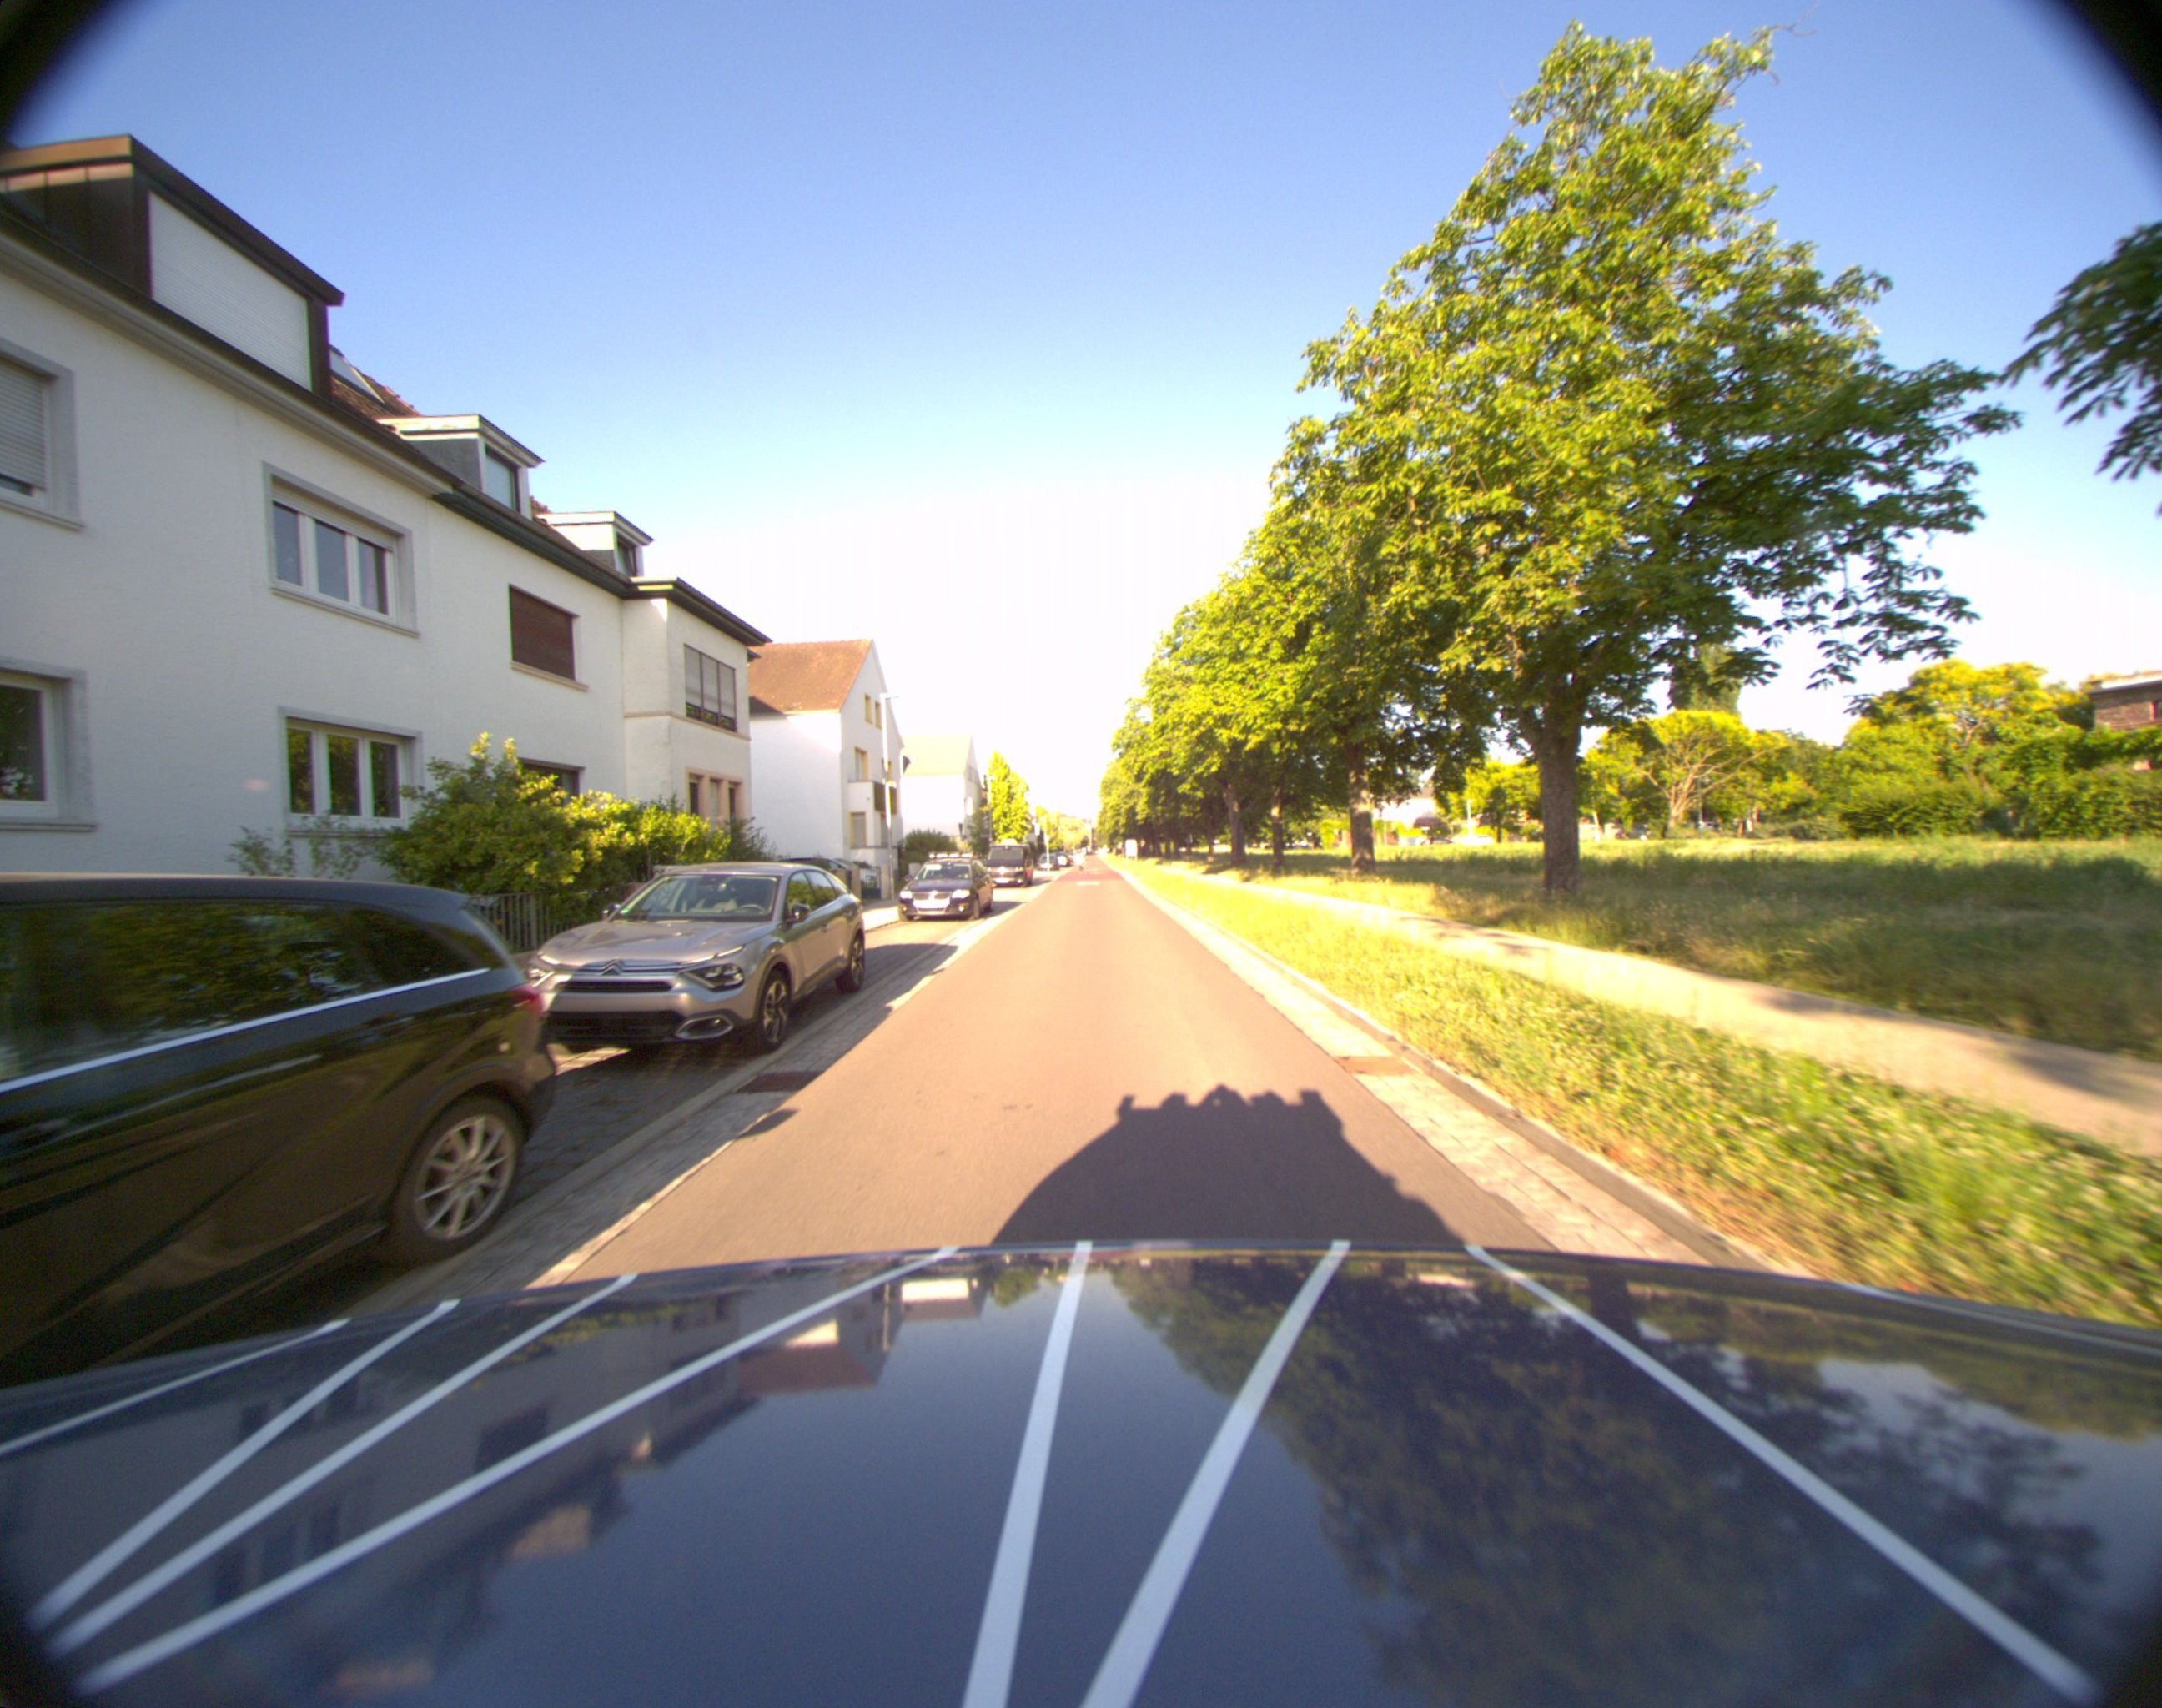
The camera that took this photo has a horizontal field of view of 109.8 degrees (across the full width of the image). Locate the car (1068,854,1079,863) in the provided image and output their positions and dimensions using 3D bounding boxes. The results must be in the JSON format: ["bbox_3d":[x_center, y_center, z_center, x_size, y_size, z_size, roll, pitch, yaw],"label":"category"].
[{"bbox_3d":[-1.252,0.700,133.340,1.745,1.471,4.056,-2,0,0],"label":"car"}]

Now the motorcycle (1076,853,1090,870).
[{"bbox_3d":[0.186,0.634,64.621,1.077,1.373,2.463,-3,1,0],"label":"motorcycle"}]

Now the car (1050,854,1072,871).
[{"bbox_3d":[-2.090,0.858,80.221,1.910,1.698,4.576,0,0,3],"label":"car"}]

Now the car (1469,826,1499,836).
[{"bbox_3d":[59.637,-3.451,112.446,3.636,1.273,1.586,-3,1,2],"label":"car"}]

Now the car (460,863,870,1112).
[{"bbox_3d":[-3.386,0.929,7.255,1.722,1.565,4.208,0,1,-2],"label":"car"}]

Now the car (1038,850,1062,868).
[{"bbox_3d":[-2.621,0.442,65.569,1.798,1.474,4.124,0,0,2],"label":"car"}]

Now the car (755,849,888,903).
[{"bbox_3d":[-9.549,0.782,28.242,4.228,1.716,1.852,-3,1,-2],"label":"car"}]

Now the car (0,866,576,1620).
[{"bbox_3d":[-3.463,0.960,1.584,1.837,1.675,4.414,1,1,1],"label":"car"}]

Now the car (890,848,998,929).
[{"bbox_3d":[-3.231,0.744,18.798,1.798,1.761,4.472,0,1,1],"label":"car"}]

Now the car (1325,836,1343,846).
[{"bbox_3d":[44.384,-2.220,133.263,1.766,1.619,4.000,-3,0,1],"label":"car"}]

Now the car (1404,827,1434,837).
[{"bbox_3d":[49.715,-3.210,111.808,3.636,1.273,1.586,-3,1,2],"label":"car"}]

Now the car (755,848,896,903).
[{"bbox_3d":[-8.763,0.707,26.350,4.228,1.716,1.852,-1,1,-2],"label":"car"}]

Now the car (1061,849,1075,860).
[{"bbox_3d":[-1.919,0.086,113.668,1.910,1.698,4.576,0,0,3],"label":"car"}]

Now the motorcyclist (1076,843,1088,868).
[{"bbox_3d":[0.089,0.121,64.810,0.961,2.002,1.273,-3,1,0],"label":"motorcyclist"}]

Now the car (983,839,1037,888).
[{"bbox_3d":[-3.244,0.384,35.561,1.910,2.119,4.814,0,1,2],"label":"car"}]
